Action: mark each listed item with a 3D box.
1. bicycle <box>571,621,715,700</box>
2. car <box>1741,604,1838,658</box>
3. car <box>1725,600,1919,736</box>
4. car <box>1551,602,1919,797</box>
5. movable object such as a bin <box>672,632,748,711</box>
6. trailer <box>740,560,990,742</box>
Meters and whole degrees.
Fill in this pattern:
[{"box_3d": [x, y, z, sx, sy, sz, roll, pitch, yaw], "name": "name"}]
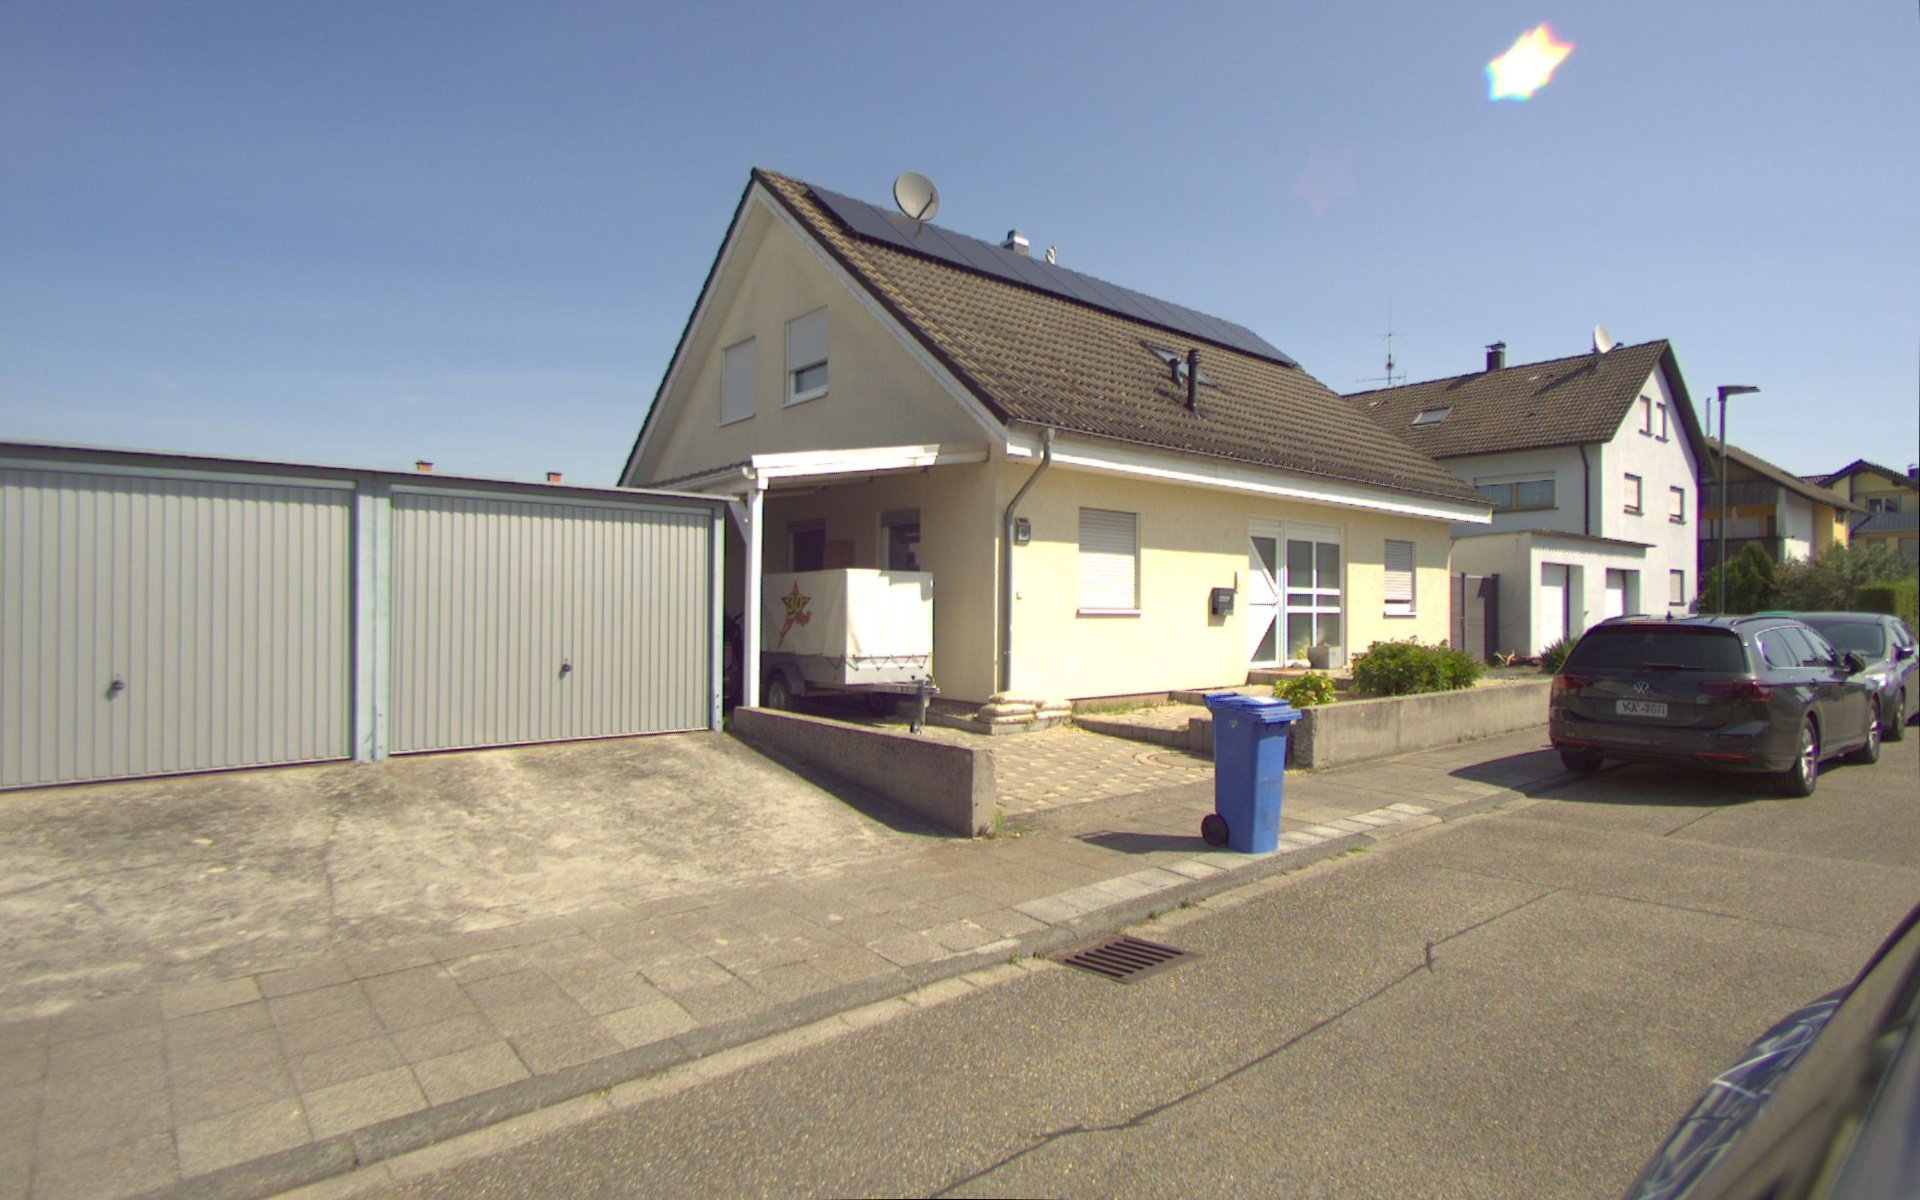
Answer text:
[{"box_3d": [-4.297, 0.792, 13.801, 1.796, 0.981, 0.559, 1, 0, -40], "name": "bicycle"}, {"box_3d": [22.539, 0.795, 27.472, 3.465, 1.376, 1.496, 0, 0, -41], "name": "car"}, {"box_3d": [11.439, 0.798, 13.062, 3.928, 1.498, 1.645, 1, -2, -40], "name": "car"}, {"box_3d": [7.502, 0.779, 9.639, 4.421, 1.457, 1.721, 0, -2, -39], "name": "car"}, {"box_3d": [-3.025, 0.841, 12.229, 0.625, 0.875, 0.836, 1, 0, -35], "name": "movable object such as a bin"}, {"box_3d": [-1.119, 0.468, 11.034, 1.377, 1.711, 2.840, 1, 0, -39], "name": "trailer"}]
